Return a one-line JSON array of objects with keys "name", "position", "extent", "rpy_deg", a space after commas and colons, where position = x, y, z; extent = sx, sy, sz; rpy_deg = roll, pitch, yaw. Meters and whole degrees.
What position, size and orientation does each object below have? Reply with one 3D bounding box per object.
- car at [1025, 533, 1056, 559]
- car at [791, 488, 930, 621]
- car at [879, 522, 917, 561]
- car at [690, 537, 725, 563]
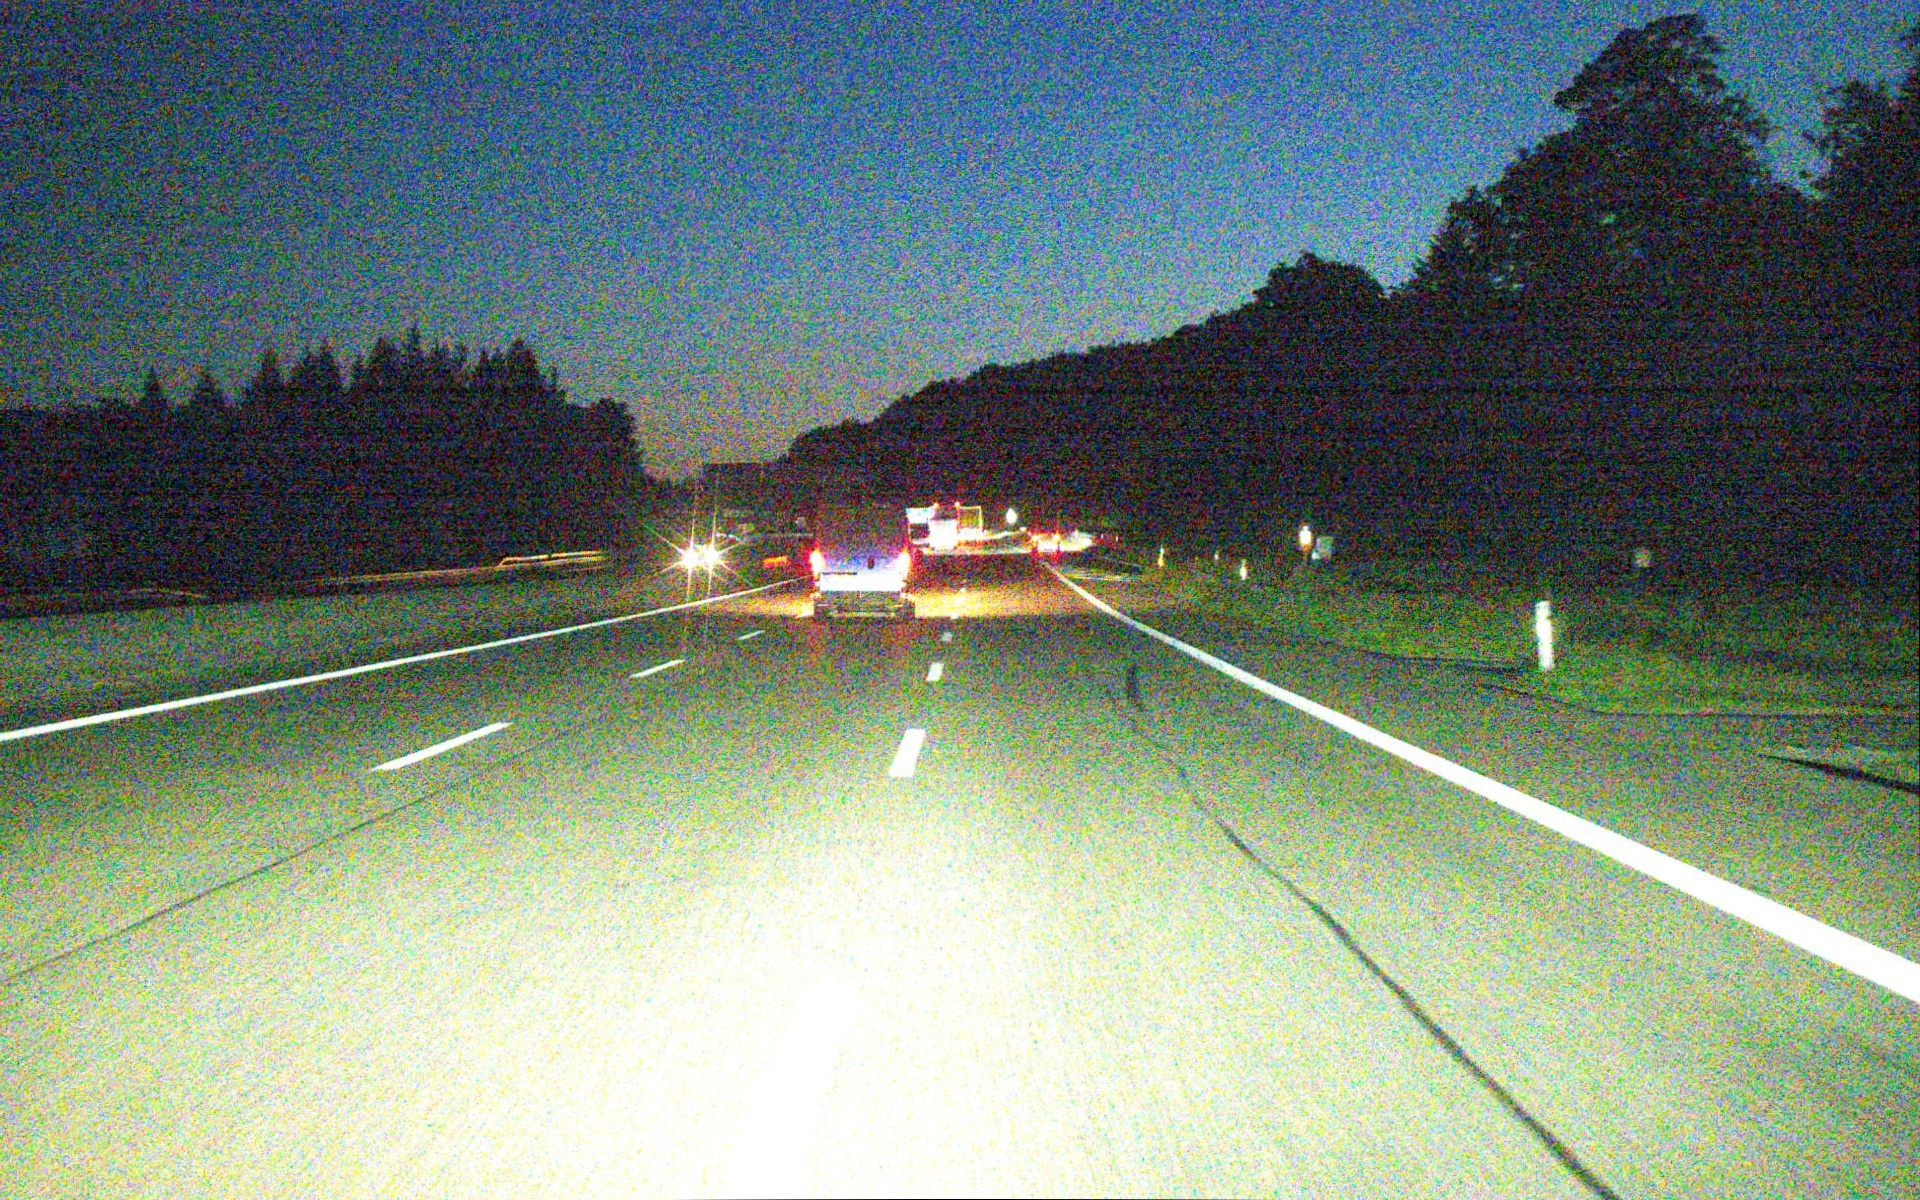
[{"name": "car", "position": [5.262, -3.568, 225.246], "extent": [1.843, 1.634, 4.001], "rpy_deg": [0, 2, 0]}, {"name": "car", "position": [-2.057, -0.989, 73.452], "extent": [2.786, 2.724, 6.299], "rpy_deg": [0, 1, 0]}, {"name": "car", "position": [-4.603, -4.309, 255.882], "extent": [2.786, 2.724, 6.299], "rpy_deg": [0, -1, -1]}, {"name": "car", "position": [-16.234, -3.236, 221.072], "extent": [1.932, 1.599, 4.954], "rpy_deg": [-1, 1, 0]}]
